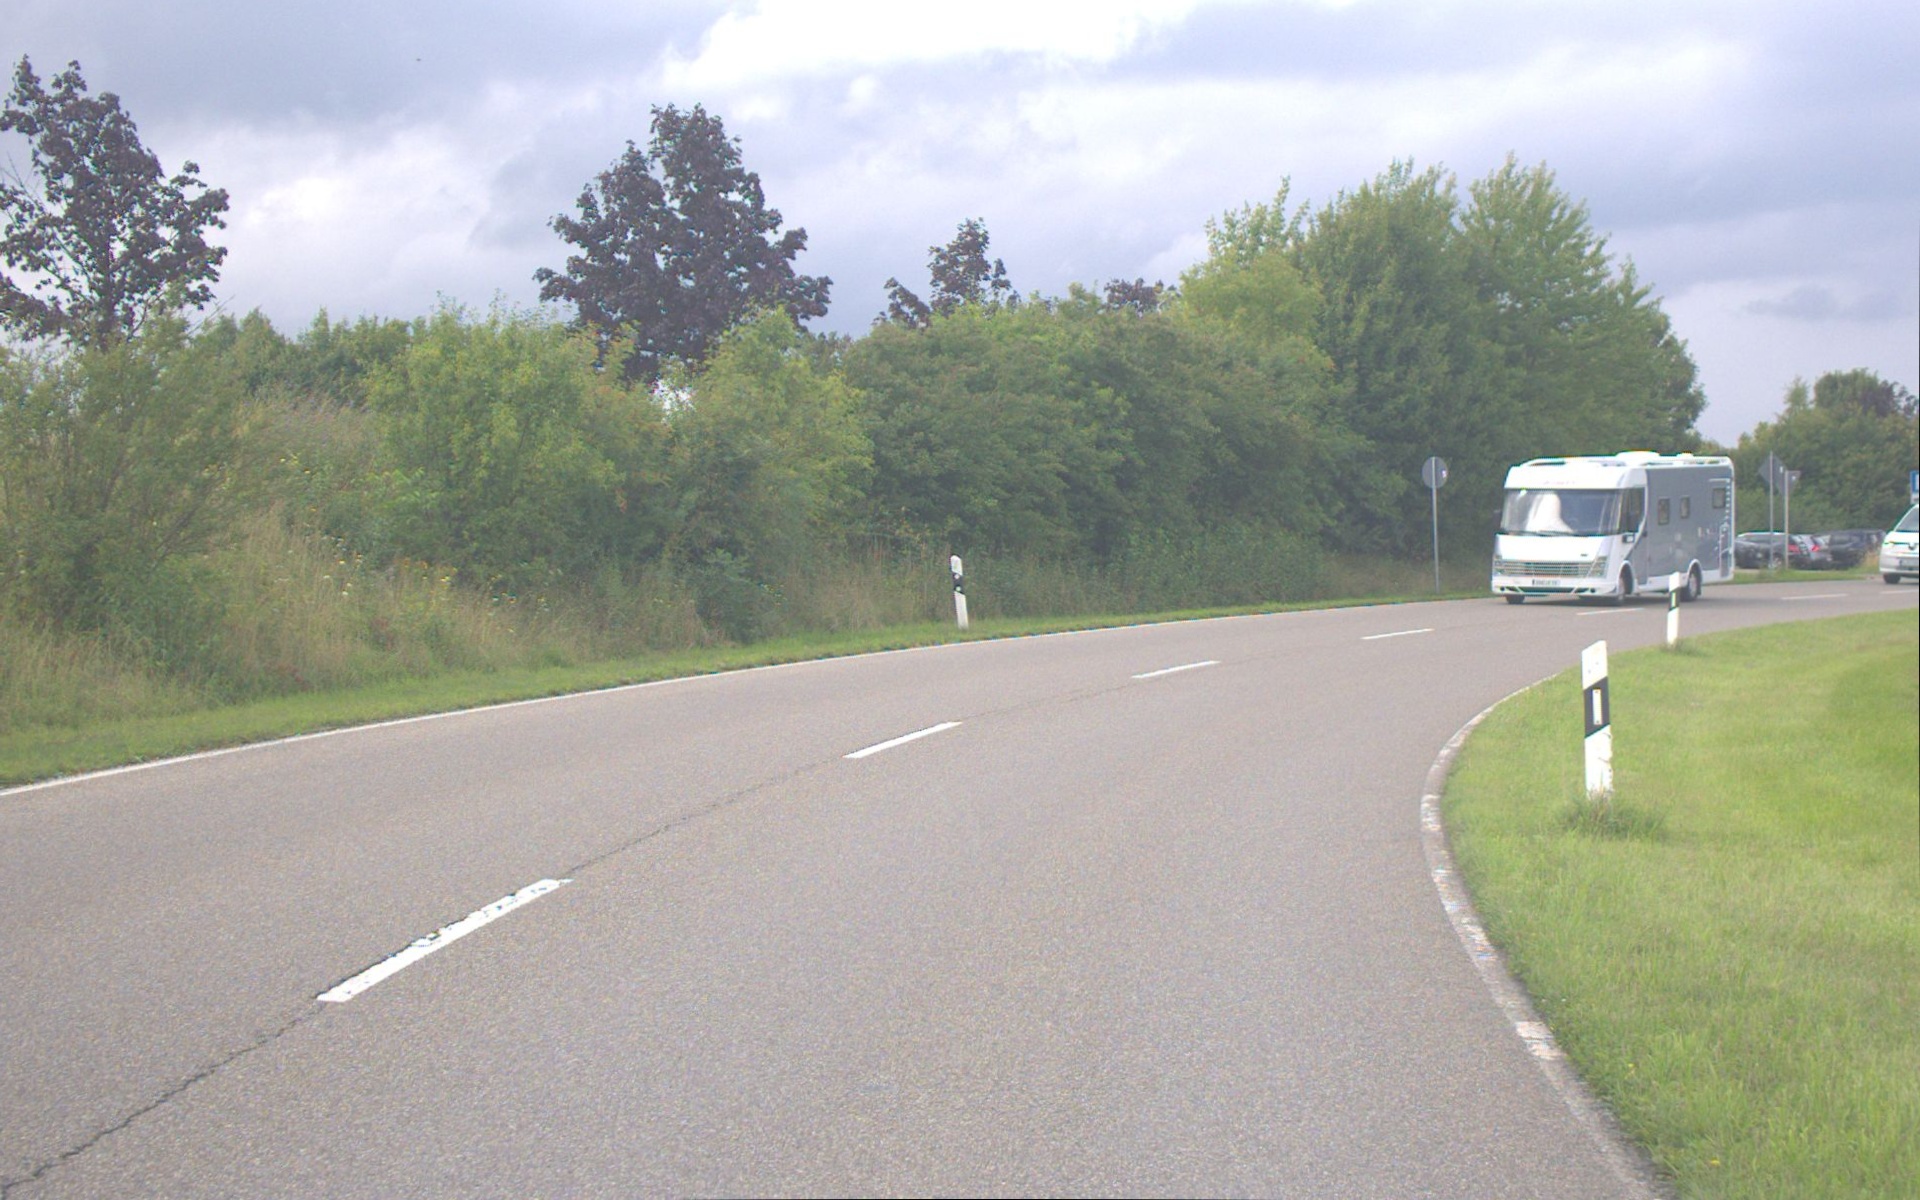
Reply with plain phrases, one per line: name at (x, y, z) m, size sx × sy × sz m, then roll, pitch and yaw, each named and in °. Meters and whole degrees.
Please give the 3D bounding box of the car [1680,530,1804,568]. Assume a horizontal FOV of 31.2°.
car at (28.313, -1.860, 124.537) m, size 3.994 × 1.375 × 1.821 m, roll 1°, pitch 1°, yaw 33°

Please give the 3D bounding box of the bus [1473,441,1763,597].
bus at (12.377, -1.501, 64.002) m, size 2.479 × 2.702 × 8.416 m, roll 1°, pitch 1°, yaw 32°

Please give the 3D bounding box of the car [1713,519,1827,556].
car at (30.289, -2.339, 128.605) m, size 3.991 × 1.375 × 1.474 m, roll 0°, pitch 1°, yaw 20°

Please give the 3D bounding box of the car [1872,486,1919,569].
car at (23.090, -1.684, 79.438) m, size 2.118 × 1.862 × 5.176 m, roll 1°, pitch 1°, yaw 37°
